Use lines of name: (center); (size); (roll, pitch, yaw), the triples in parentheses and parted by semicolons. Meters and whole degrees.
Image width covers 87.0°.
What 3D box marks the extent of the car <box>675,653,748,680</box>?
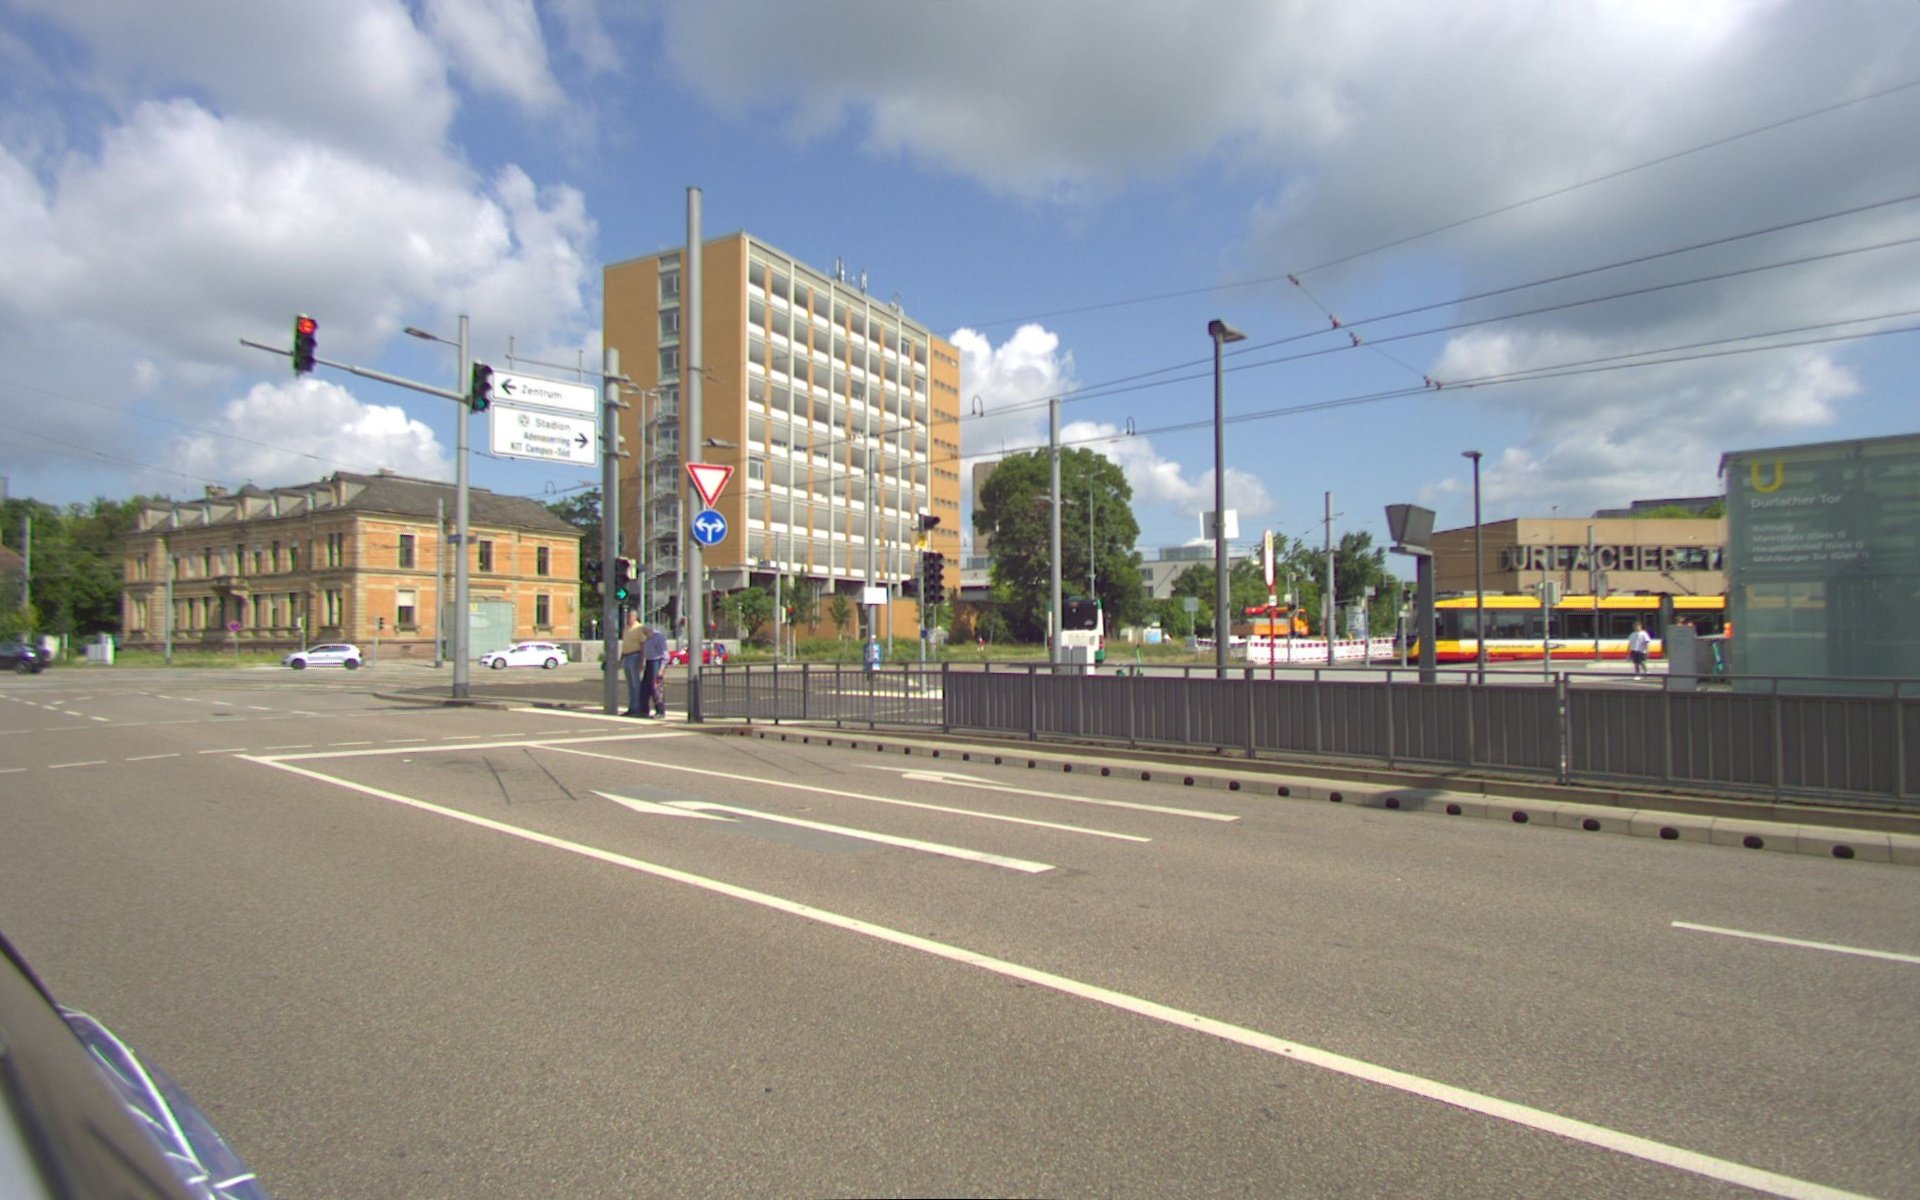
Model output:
car: (-15.293, 4.092, 62.301); (3.997, 1.479, 1.651); (0, -4, -34)

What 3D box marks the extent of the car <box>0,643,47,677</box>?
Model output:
car: (-46.973, 2.943, 48.743); (4.140, 1.588, 1.651); (0, -4, -30)

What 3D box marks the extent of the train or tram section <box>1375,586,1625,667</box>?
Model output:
train or tram section: (26.387, 1.339, 49.751); (10.447, 3.507, 3.327); (-2, -4, -5)

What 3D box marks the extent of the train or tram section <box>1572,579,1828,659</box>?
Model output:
train or tram section: (36.877, 0.995, 50.663); (10.447, 3.507, 3.327); (-2, -4, -5)

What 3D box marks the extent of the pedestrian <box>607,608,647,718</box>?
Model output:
pedestrian: (-6.270, 1.182, 19.062); (0.576, 2.029, 0.422); (-2, -3, 30)

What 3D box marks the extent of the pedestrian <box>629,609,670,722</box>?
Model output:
pedestrian: (-5.690, 1.188, 18.565); (0.513, 2.029, 0.498); (-2, -3, 30)

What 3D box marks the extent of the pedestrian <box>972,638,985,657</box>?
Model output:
pedestrian: (1.562, 4.021, 85.984); (0.947, 1.590, 0.766); (-1, -3, 12)

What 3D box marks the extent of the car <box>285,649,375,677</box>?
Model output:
car: (-34.430, 3.459, 55.434); (4.008, 1.396, 1.593); (-1, -4, -25)

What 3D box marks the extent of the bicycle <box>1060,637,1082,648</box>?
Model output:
bicycle: (9.748, 3.738, 88.719); (1.778, 0.881, 0.763); (1, 0, -19)

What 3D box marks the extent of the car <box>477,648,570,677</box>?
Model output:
car: (-24.458, 3.478, 56.746); (4.595, 1.440, 1.768); (0, -4, -32)

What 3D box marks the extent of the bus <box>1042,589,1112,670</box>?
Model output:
bus: (5.782, 1.552, 51.987); (2.878, 3.648, 12.361); (-1, -2, 4)

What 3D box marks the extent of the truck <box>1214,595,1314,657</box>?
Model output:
truck: (21.033, 1.851, 69.693); (7.947, 4.039, 2.840); (2, -3, -42)

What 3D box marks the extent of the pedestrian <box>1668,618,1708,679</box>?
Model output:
pedestrian: (21.754, 1.453, 30.247); (0.554, 1.808, 0.721); (0, -2, -6)

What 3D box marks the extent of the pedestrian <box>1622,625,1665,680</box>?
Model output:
pedestrian: (21.342, 1.633, 31.616); (0.709, 1.685, 0.783); (0, -3, -10)

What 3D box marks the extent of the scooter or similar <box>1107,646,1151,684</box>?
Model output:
scooter or similar: (5.404, 2.078, 32.392); (1.164, 1.175, 0.804); (-2, -3, 32)
